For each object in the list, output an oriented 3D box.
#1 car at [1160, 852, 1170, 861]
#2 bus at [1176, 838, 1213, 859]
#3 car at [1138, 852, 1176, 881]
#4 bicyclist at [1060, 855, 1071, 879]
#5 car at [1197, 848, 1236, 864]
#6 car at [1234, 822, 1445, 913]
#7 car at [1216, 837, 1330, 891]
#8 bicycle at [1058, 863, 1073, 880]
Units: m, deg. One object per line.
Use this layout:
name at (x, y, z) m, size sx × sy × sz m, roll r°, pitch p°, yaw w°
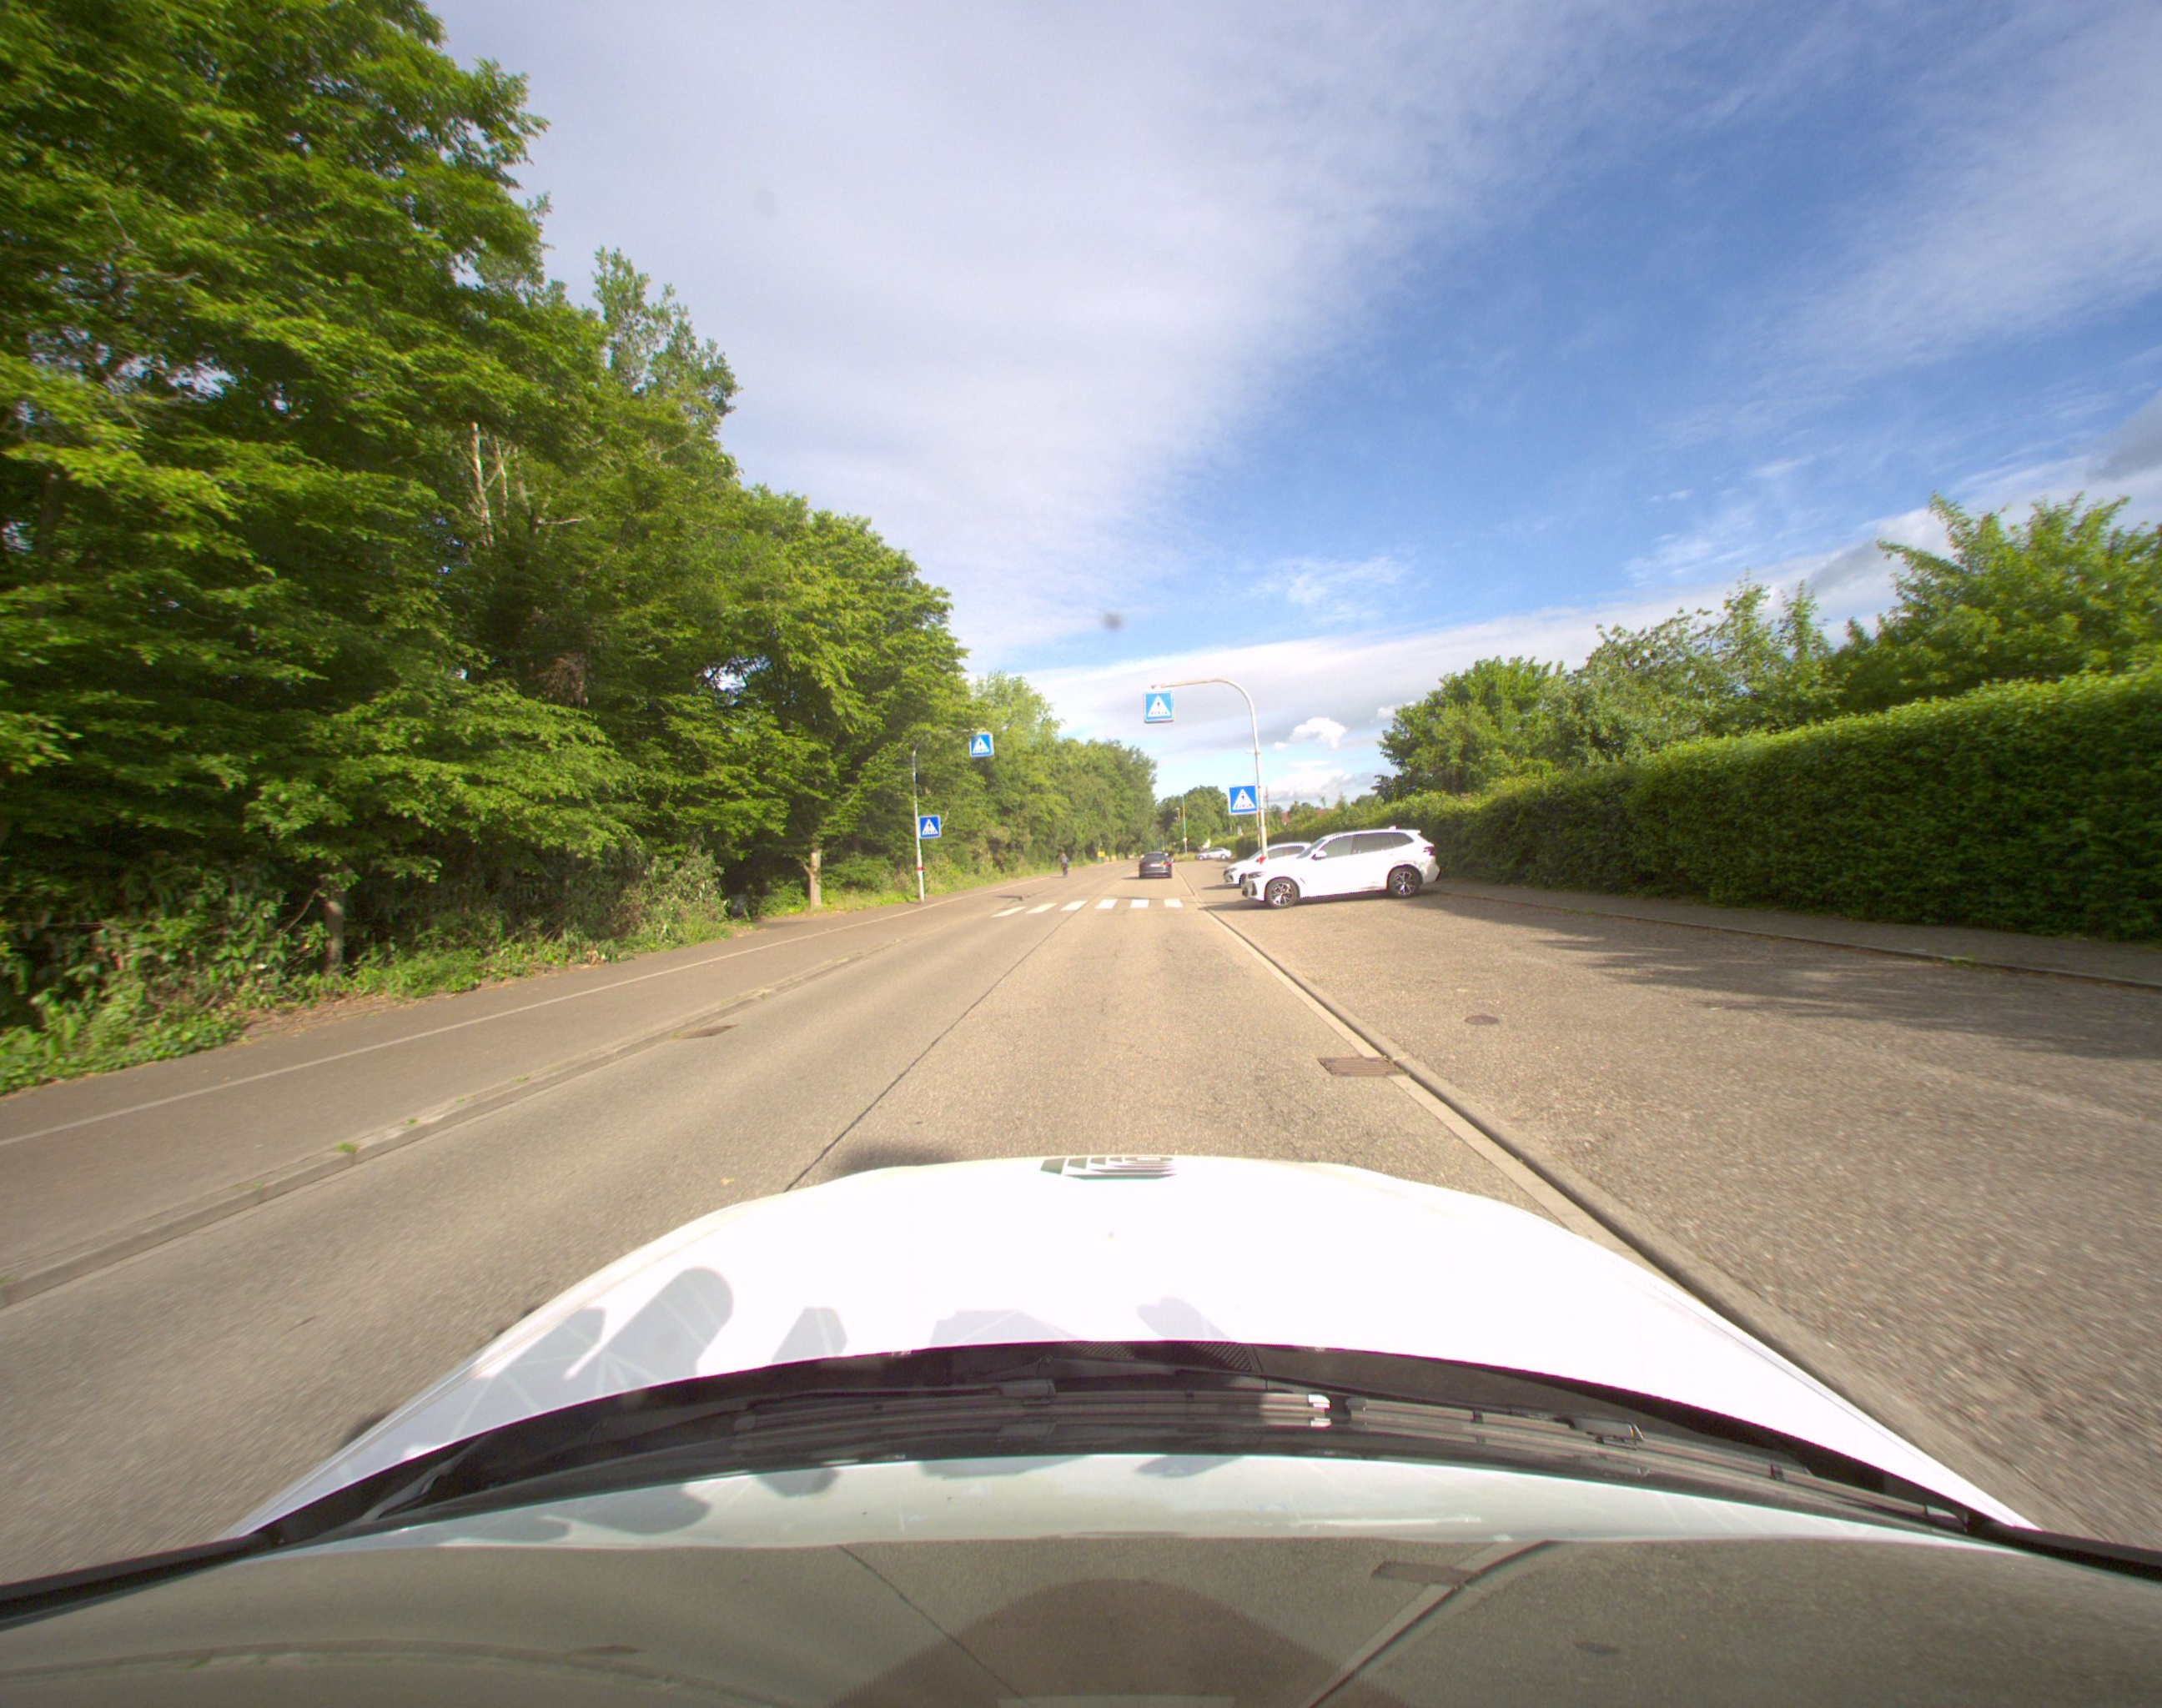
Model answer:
car at (13.995, 0.407, 135.790) m, size 1.487 × 1.366 × 3.270 m, roll -5°, pitch 0°, yaw 8°
bus at (17.502, -0.861, 125.465) m, size 5.343 × 2.746 × 2.070 m, roll -5°, pitch 0°, yaw 3°
car at (4.304, 0.674, 45.939) m, size 1.956 × 1.434 × 4.343 m, roll -3°, pitch 0°, yaw 6°
bicyclist at (-1.092, 0.908, 56.845) m, size 0.605 × 1.676 × 0.885 m, roll -3°, pitch 0°, yaw 6°
car at (15.875, 0.235, 95.211) m, size 4.333 × 1.443 × 1.939 m, roll -5°, pitch -1°, yaw 12°
car at (6.189, 0.319, 19.966) m, size 4.565 × 1.699 × 1.766 m, roll -6°, pitch 0°, yaw 5°
car at (7.212, 0.364, 30.896) m, size 3.841 × 1.490 × 1.694 m, roll -7°, pitch 1°, yaw 3°
bicycle at (-1.064, 1.228, 56.936) m, size 0.659 × 1.097 × 2.353 m, roll -2°, pitch 0°, yaw 7°
